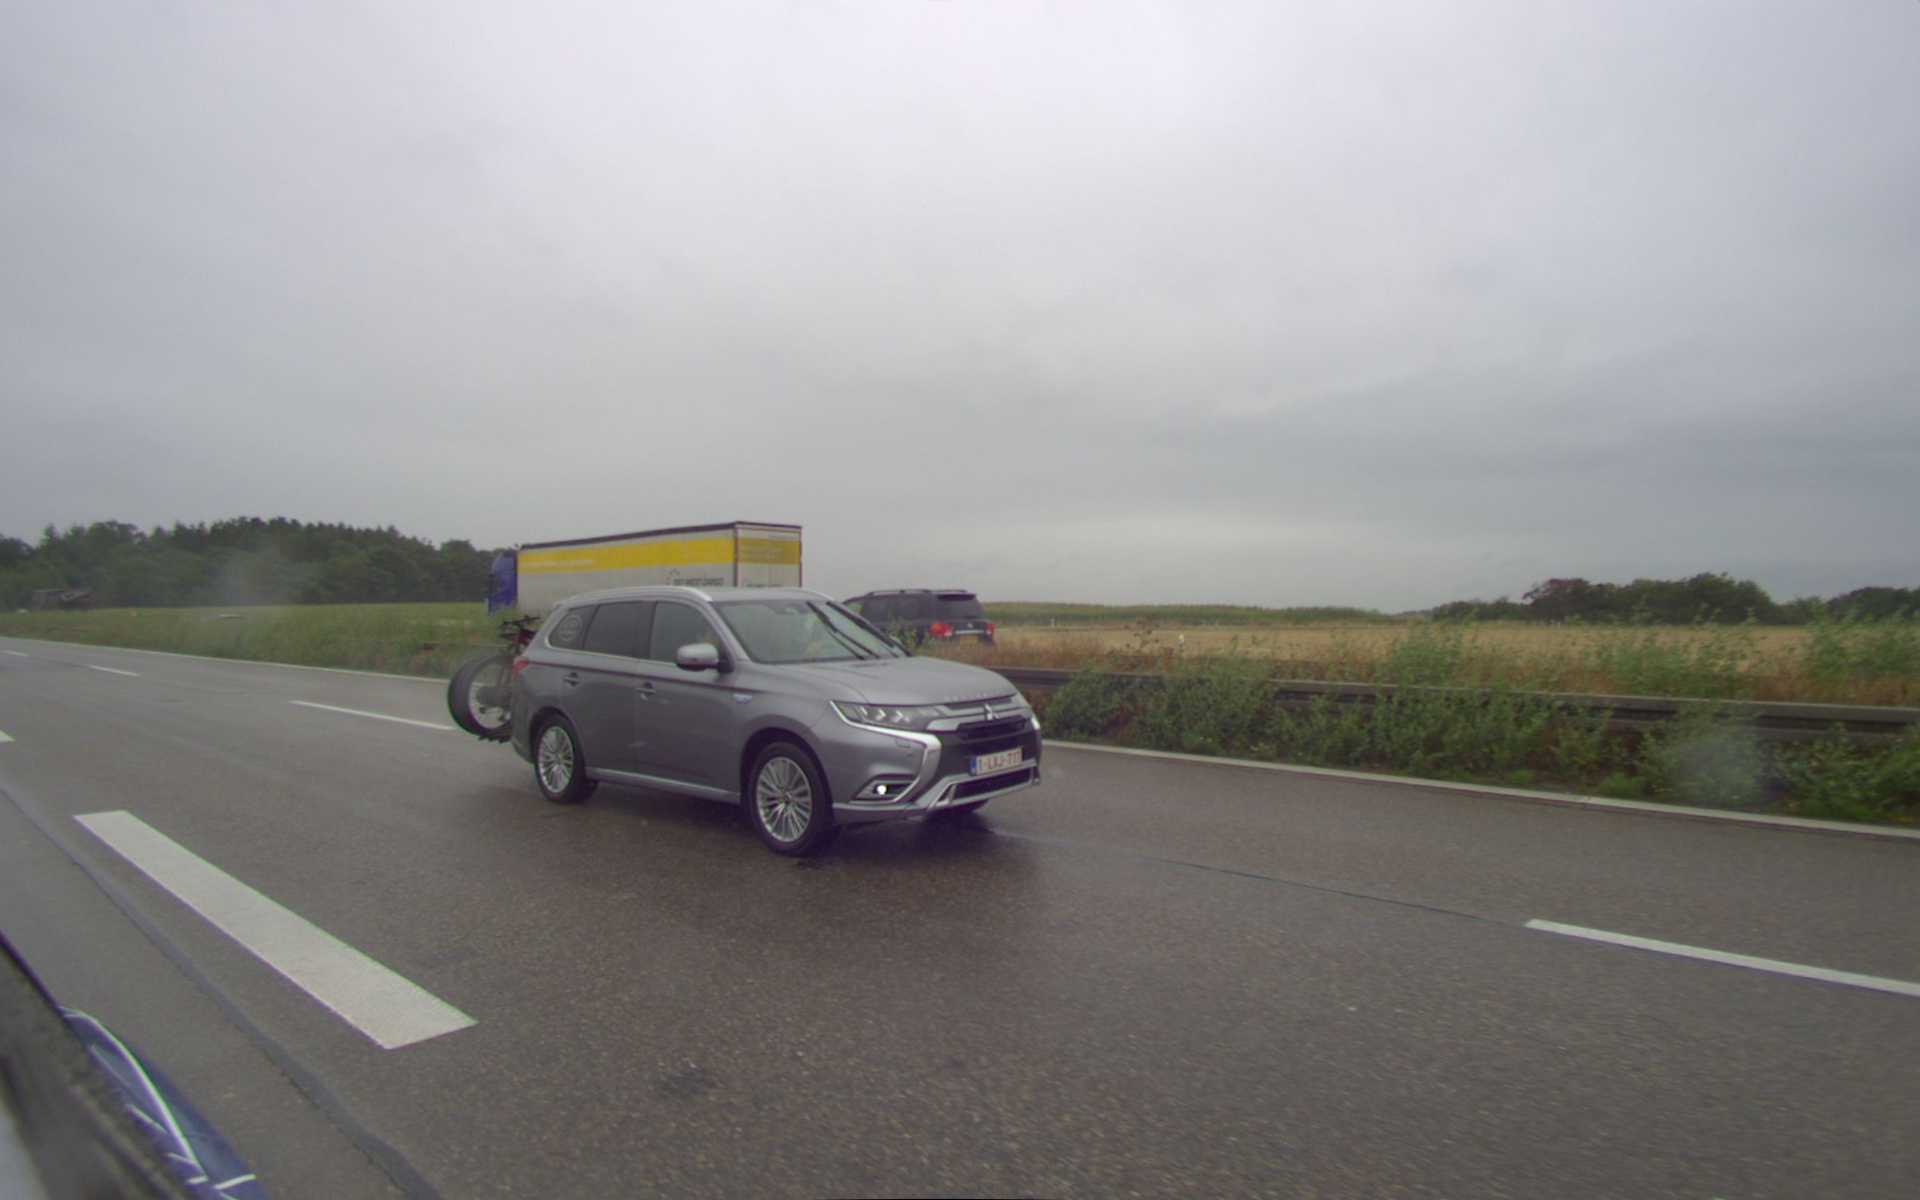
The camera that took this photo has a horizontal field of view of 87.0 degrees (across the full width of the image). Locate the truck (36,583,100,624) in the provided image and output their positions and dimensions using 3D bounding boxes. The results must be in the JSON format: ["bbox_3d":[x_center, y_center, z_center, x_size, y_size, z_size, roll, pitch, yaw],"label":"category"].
[{"bbox_3d":[-93.524,0.431,105.953,13.806,3.996,3.161,-1,1,41],"label":"truck"}]

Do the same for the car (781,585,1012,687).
[{"bbox_3d":[-1.402,0.703,21.027,4.696,1.890,2.083,-1,-1,41],"label":"car"}]

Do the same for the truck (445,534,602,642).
[{"bbox_3d":[-17.711,-0.464,40.859,6.659,3.996,3.161,-1,1,41],"label":"truck"}]

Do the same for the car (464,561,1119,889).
[{"bbox_3d":[-1.524,0.649,7.430,5.096,1.646,1.844,-1,0,39],"label":"car"}]

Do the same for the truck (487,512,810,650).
[{"bbox_3d":[-11.532,-0.536,35.443,15.310,3.996,3.161,-1,1,41],"label":"truck"}]

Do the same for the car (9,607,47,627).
[{"bbox_3d":[-88.712,1.608,96.319,4.528,1.890,2.083,-1,1,41],"label":"car"}]
